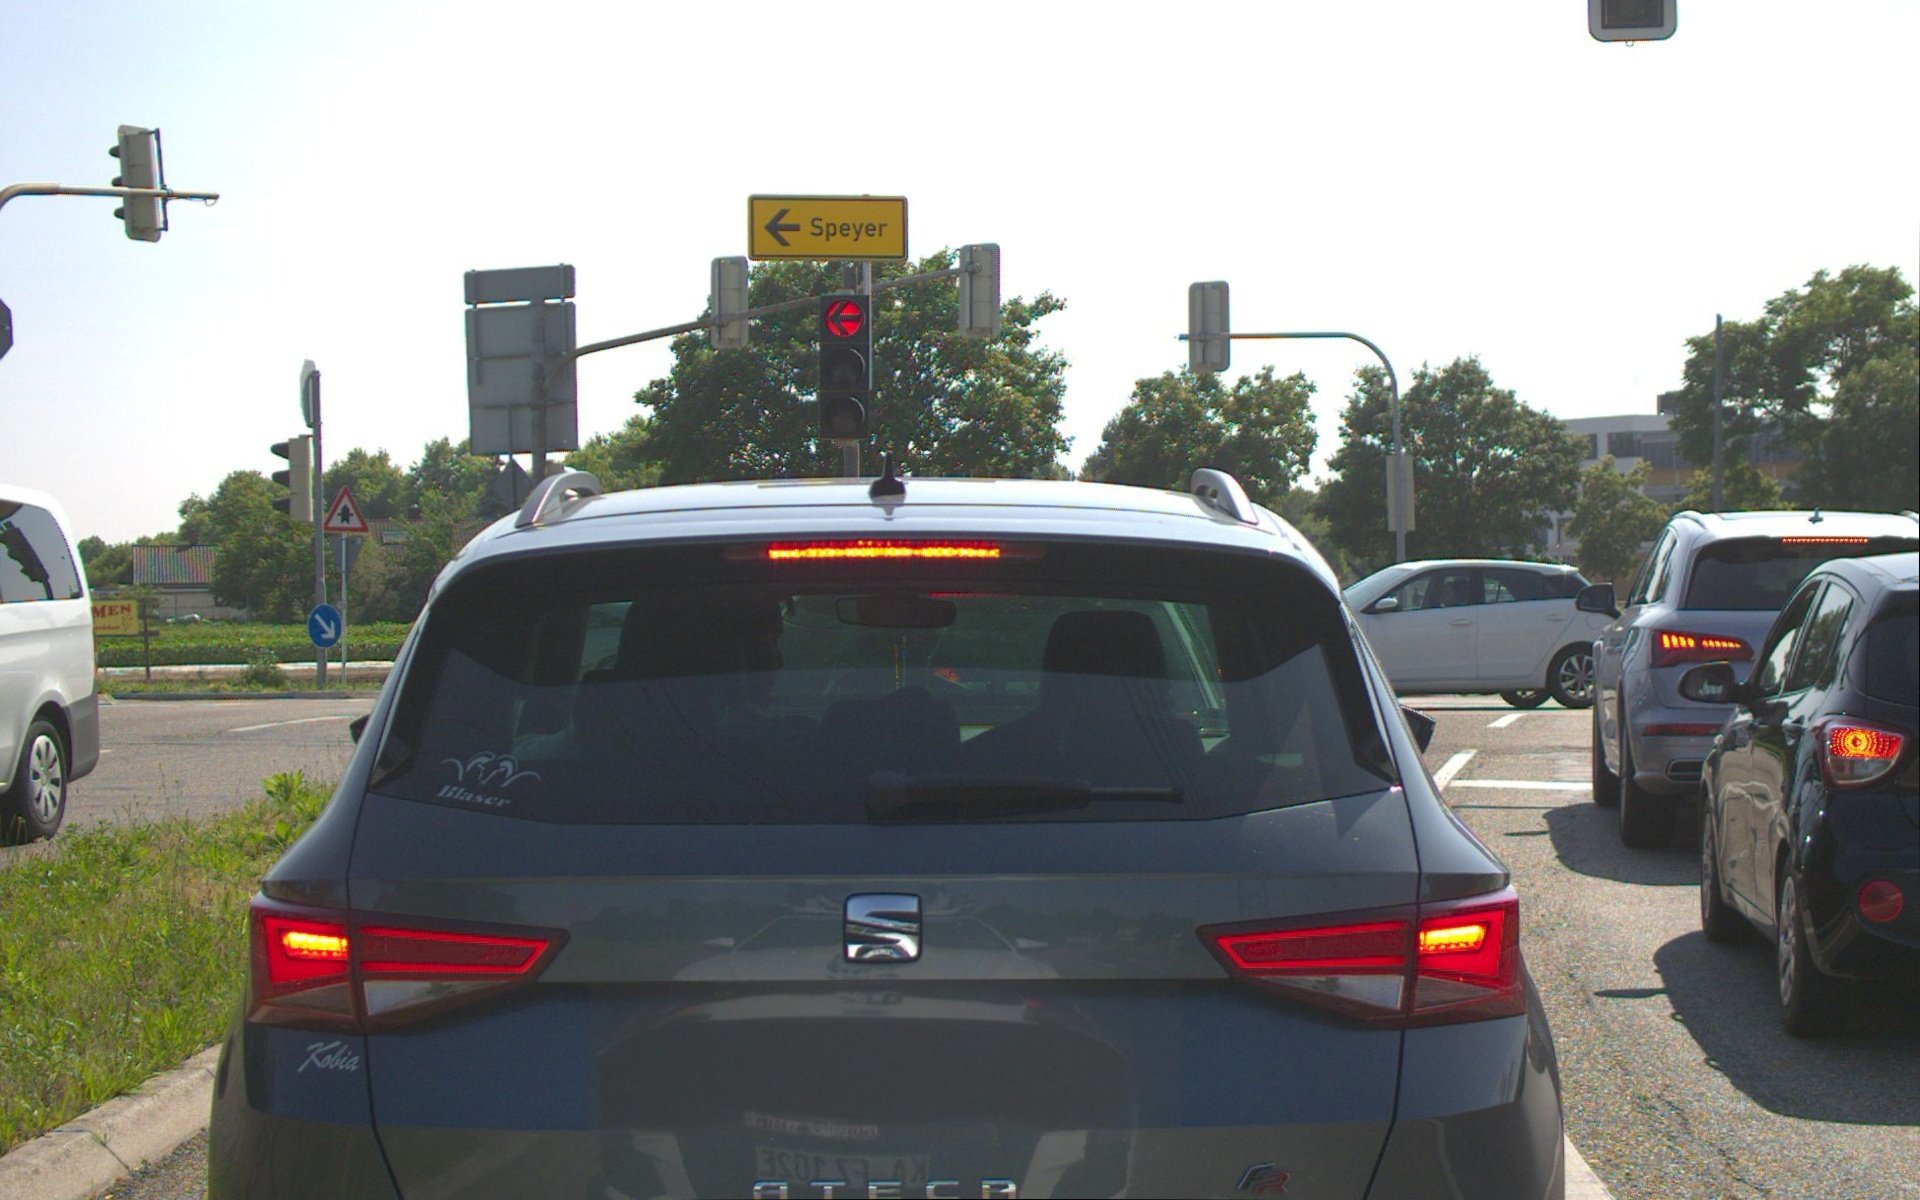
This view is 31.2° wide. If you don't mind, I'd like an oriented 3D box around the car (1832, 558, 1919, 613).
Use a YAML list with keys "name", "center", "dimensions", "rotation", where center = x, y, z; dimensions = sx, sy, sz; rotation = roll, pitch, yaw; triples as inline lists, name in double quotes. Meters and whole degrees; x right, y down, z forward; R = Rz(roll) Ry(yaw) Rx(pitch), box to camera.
- name: "car"
  center: [26.456, -0.414, 99.244]
  dimensions: [1.714, 1.543, 3.606]
  rotation: [1, 1, 27]

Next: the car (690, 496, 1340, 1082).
- name: "car"
  center: [0.160, 0.499, 11.172]
  dimensions: [1.742, 1.563, 3.624]
  rotation: [1, 0, 0]

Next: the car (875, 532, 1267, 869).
- name: "car"
  center: [0.647, 0.436, 17.293]
  dimensions: [1.742, 1.479, 3.623]
  rotation: [1, 0, 5]

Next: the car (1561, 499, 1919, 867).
- name: "car"
  center: [4.038, 0.359, 17.649]
  dimensions: [1.633, 1.671, 3.749]
  rotation: [1, 1, 6]

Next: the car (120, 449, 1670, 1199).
- name: "car"
  center: [-0.099, 0.610, 5.708]
  dimensions: [1.742, 1.563, 3.624]
  rotation: [1, 0, -1]

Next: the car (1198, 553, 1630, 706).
- name: "car"
  center: [4.443, 0.270, 33.929]
  dimensions: [3.898, 1.460, 1.724]
  rotation: [0, 1, -9]

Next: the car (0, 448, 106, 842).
- name: "car"
  center: [-5.737, 0.230, 15.797]
  dimensions: [1.994, 1.911, 4.947]
  rotation: [1, 1, 5]

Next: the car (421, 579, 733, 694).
- name: "car"
  center: [-5.265, 0.488, 47.225]
  dimensions: [3.873, 1.514, 1.805]
  rotation: [0, 1, 26]

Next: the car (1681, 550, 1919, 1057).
- name: "car"
  center: [3.394, 0.566, 11.405]
  dimensions: [1.633, 1.443, 3.294]
  rotation: [1, 1, 6]
